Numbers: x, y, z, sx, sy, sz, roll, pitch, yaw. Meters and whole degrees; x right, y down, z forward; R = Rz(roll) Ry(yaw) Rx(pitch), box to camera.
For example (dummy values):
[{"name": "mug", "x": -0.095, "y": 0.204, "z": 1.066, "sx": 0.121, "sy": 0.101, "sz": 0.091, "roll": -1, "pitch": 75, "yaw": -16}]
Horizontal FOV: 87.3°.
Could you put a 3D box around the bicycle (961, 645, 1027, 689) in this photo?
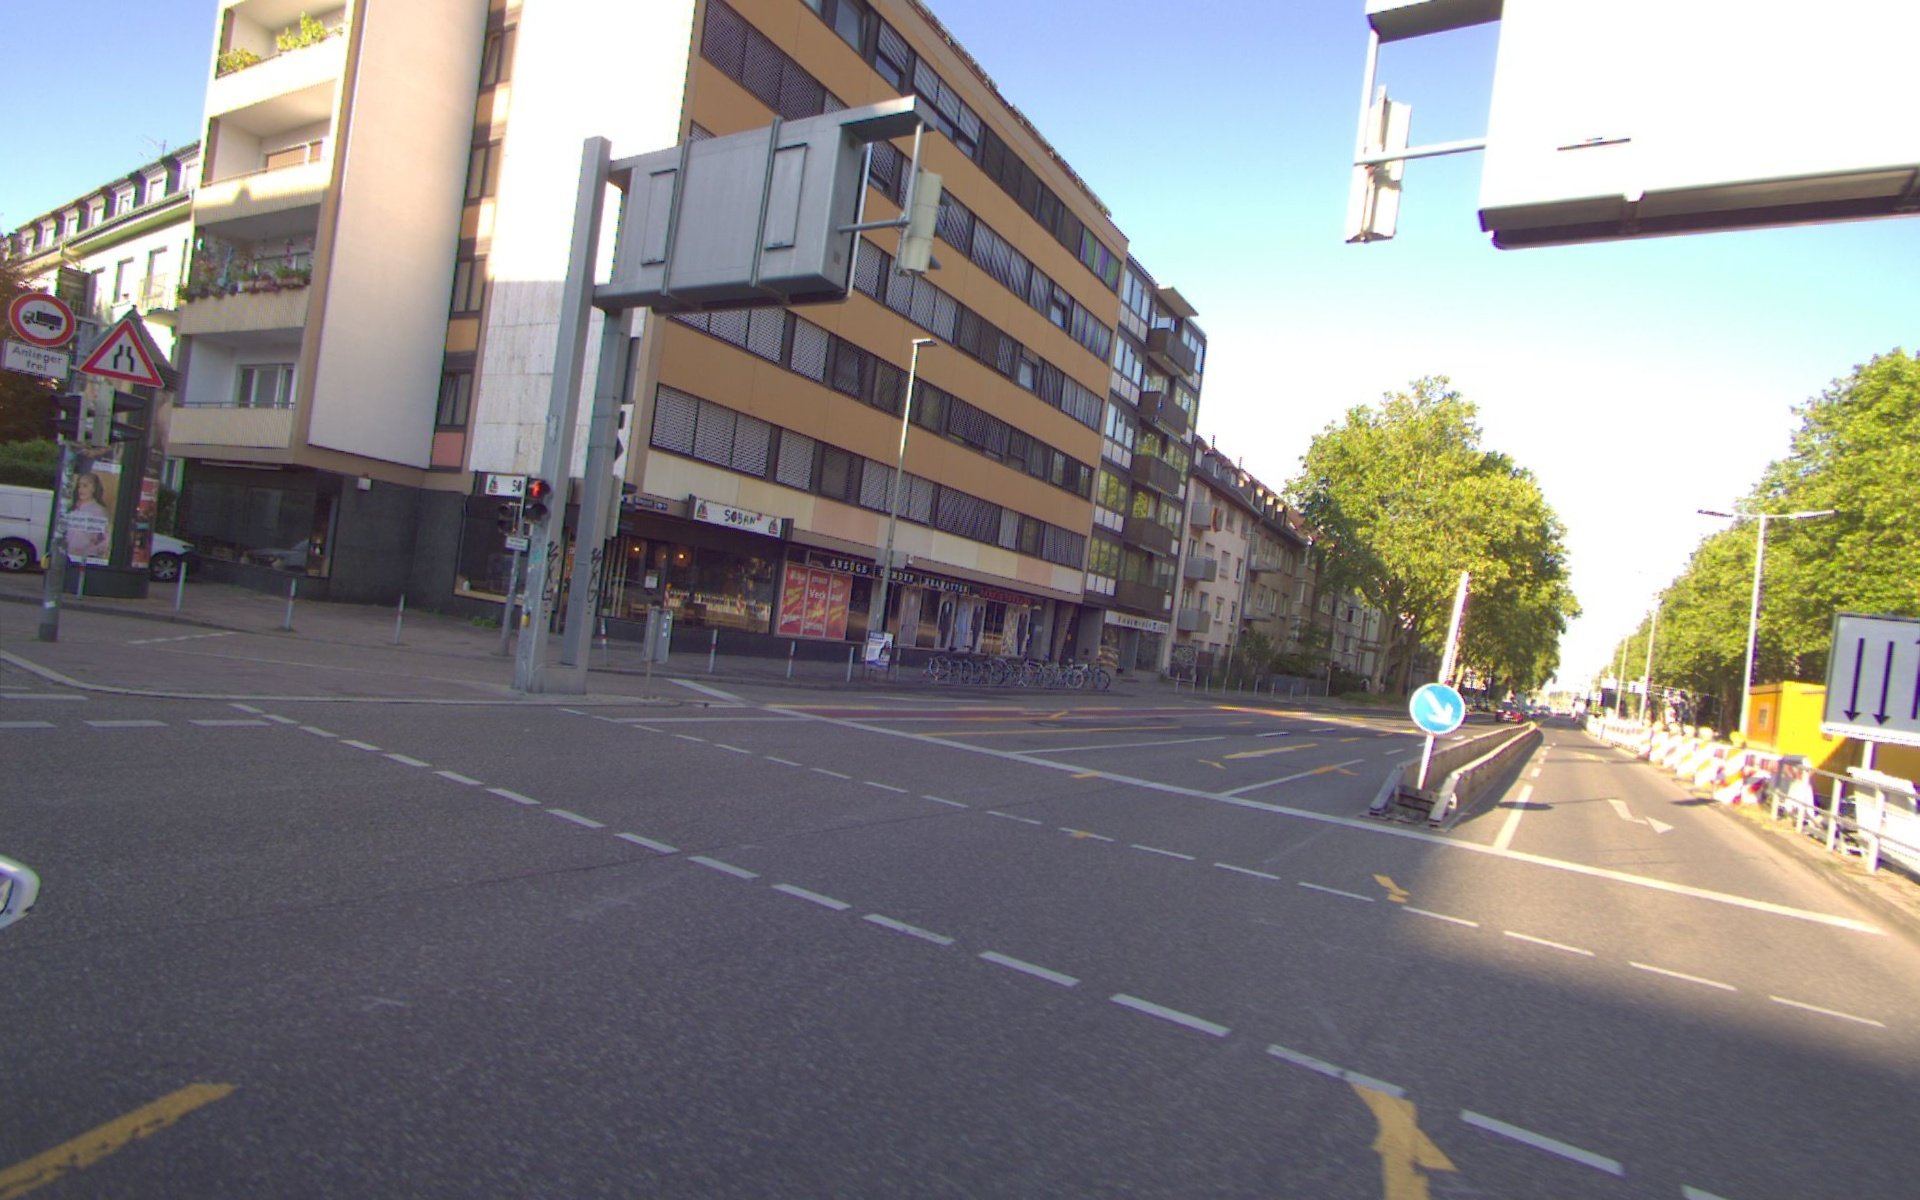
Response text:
[{"name": "bicycle", "x": 1.076, "y": 2.141, "z": 32.066, "sx": 1.973, "sy": 1.109, "sz": 0.527, "roll": 7, "pitch": 0, "yaw": 28}]

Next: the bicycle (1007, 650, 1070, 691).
[{"name": "bicycle", "x": 2.699, "y": 2.435, "z": 34.725, "sx": 1.972, "sy": 1.109, "sz": 0.527, "roll": 7, "pitch": 0, "yaw": 26}]

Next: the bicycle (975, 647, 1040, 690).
[{"name": "bicycle", "x": 1.558, "y": 2.230, "z": 32.934, "sx": 1.972, "sy": 1.109, "sz": 0.527, "roll": 7, "pitch": 0, "yaw": 26}]

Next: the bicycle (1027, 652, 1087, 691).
[{"name": "bicycle", "x": 3.485, "y": 2.582, "z": 36.195, "sx": 1.972, "sy": 1.109, "sz": 0.527, "roll": 7, "pitch": 0, "yaw": 26}]

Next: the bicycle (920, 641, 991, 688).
[{"name": "bicycle", "x": -0.136, "y": 1.916, "z": 29.875, "sx": 1.972, "sy": 1.109, "sz": 0.527, "roll": 7, "pitch": 0, "yaw": 26}]

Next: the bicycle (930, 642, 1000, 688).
[{"name": "bicycle", "x": 0.154, "y": 1.971, "z": 30.420, "sx": 1.972, "sy": 1.109, "sz": 0.527, "roll": 7, "pitch": 0, "yaw": 26}]

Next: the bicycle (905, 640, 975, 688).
[{"name": "bicycle", "x": -0.591, "y": 1.834, "z": 29.125, "sx": 1.975, "sy": 1.109, "sz": 0.527, "roll": 7, "pitch": 0, "yaw": 34}]

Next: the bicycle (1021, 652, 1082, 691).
[{"name": "bicycle", "x": 3.224, "y": 2.529, "z": 35.572, "sx": 1.972, "sy": 1.109, "sz": 0.527, "roll": 7, "pitch": 0, "yaw": 26}]

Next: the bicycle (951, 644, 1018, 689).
[{"name": "bicycle", "x": 0.760, "y": 2.083, "z": 31.535, "sx": 1.973, "sy": 1.109, "sz": 0.527, "roll": 7, "pitch": 0, "yaw": 28}]

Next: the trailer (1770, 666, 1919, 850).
[{"name": "trailer", "x": 17.657, "y": 2.955, "z": 18.889, "sx": 2.498, "sy": 2.901, "sz": 6.124, "roll": 7, "pitch": -1, "yaw": 29}]

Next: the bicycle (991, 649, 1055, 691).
[{"name": "bicycle", "x": 2.092, "y": 2.318, "z": 33.442, "sx": 1.972, "sy": 1.109, "sz": 0.527, "roll": 7, "pitch": 0, "yaw": 26}]

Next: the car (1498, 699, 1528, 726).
[{"name": "car", "x": 41.707, "y": 8.454, "z": 75.811, "sx": 1.741, "sy": 1.726, "sz": 3.995, "roll": 7, "pitch": -1, "yaw": 31}]

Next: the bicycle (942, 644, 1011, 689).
[{"name": "bicycle", "x": 0.500, "y": 2.032, "z": 30.921, "sx": 1.972, "sy": 1.109, "sz": 0.527, "roll": 7, "pitch": 0, "yaw": 26}]

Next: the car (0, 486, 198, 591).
[{"name": "car", "x": -20.145, "y": -1.425, "z": 22.774, "sx": 1.831, "sy": 1.835, "sz": 4.094, "roll": 7, "pitch": -1, "yaw": 33}]

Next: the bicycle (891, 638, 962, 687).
[{"name": "bicycle", "x": -0.959, "y": 1.768, "z": 28.536, "sx": 1.975, "sy": 1.109, "sz": 0.527, "roll": 7, "pitch": 0, "yaw": 34}]

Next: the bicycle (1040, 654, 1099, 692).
[{"name": "bicycle", "x": 4.036, "y": 2.684, "z": 37.184, "sx": 1.972, "sy": 1.109, "sz": 0.527, "roll": 7, "pitch": 0, "yaw": 26}]

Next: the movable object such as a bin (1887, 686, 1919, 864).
[{"name": "movable object such as a bin", "x": 14.619, "y": 2.569, "z": 13.631, "sx": 1.968, "sy": 2.624, "sz": 5.204, "roll": 7, "pitch": -1, "yaw": 34}]

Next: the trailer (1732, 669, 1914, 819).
[{"name": "trailer", "x": 21.710, "y": 3.548, "z": 25.655, "sx": 2.368, "sy": 3.051, "sz": 6.119, "roll": 7, "pitch": -1, "yaw": 33}]

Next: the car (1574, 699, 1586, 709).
[{"name": "car", "x": 122.258, "y": 20.539, "z": 198.404, "sx": 1.741, "sy": 1.726, "sz": 3.995, "roll": 7, "pitch": -1, "yaw": 31}]
